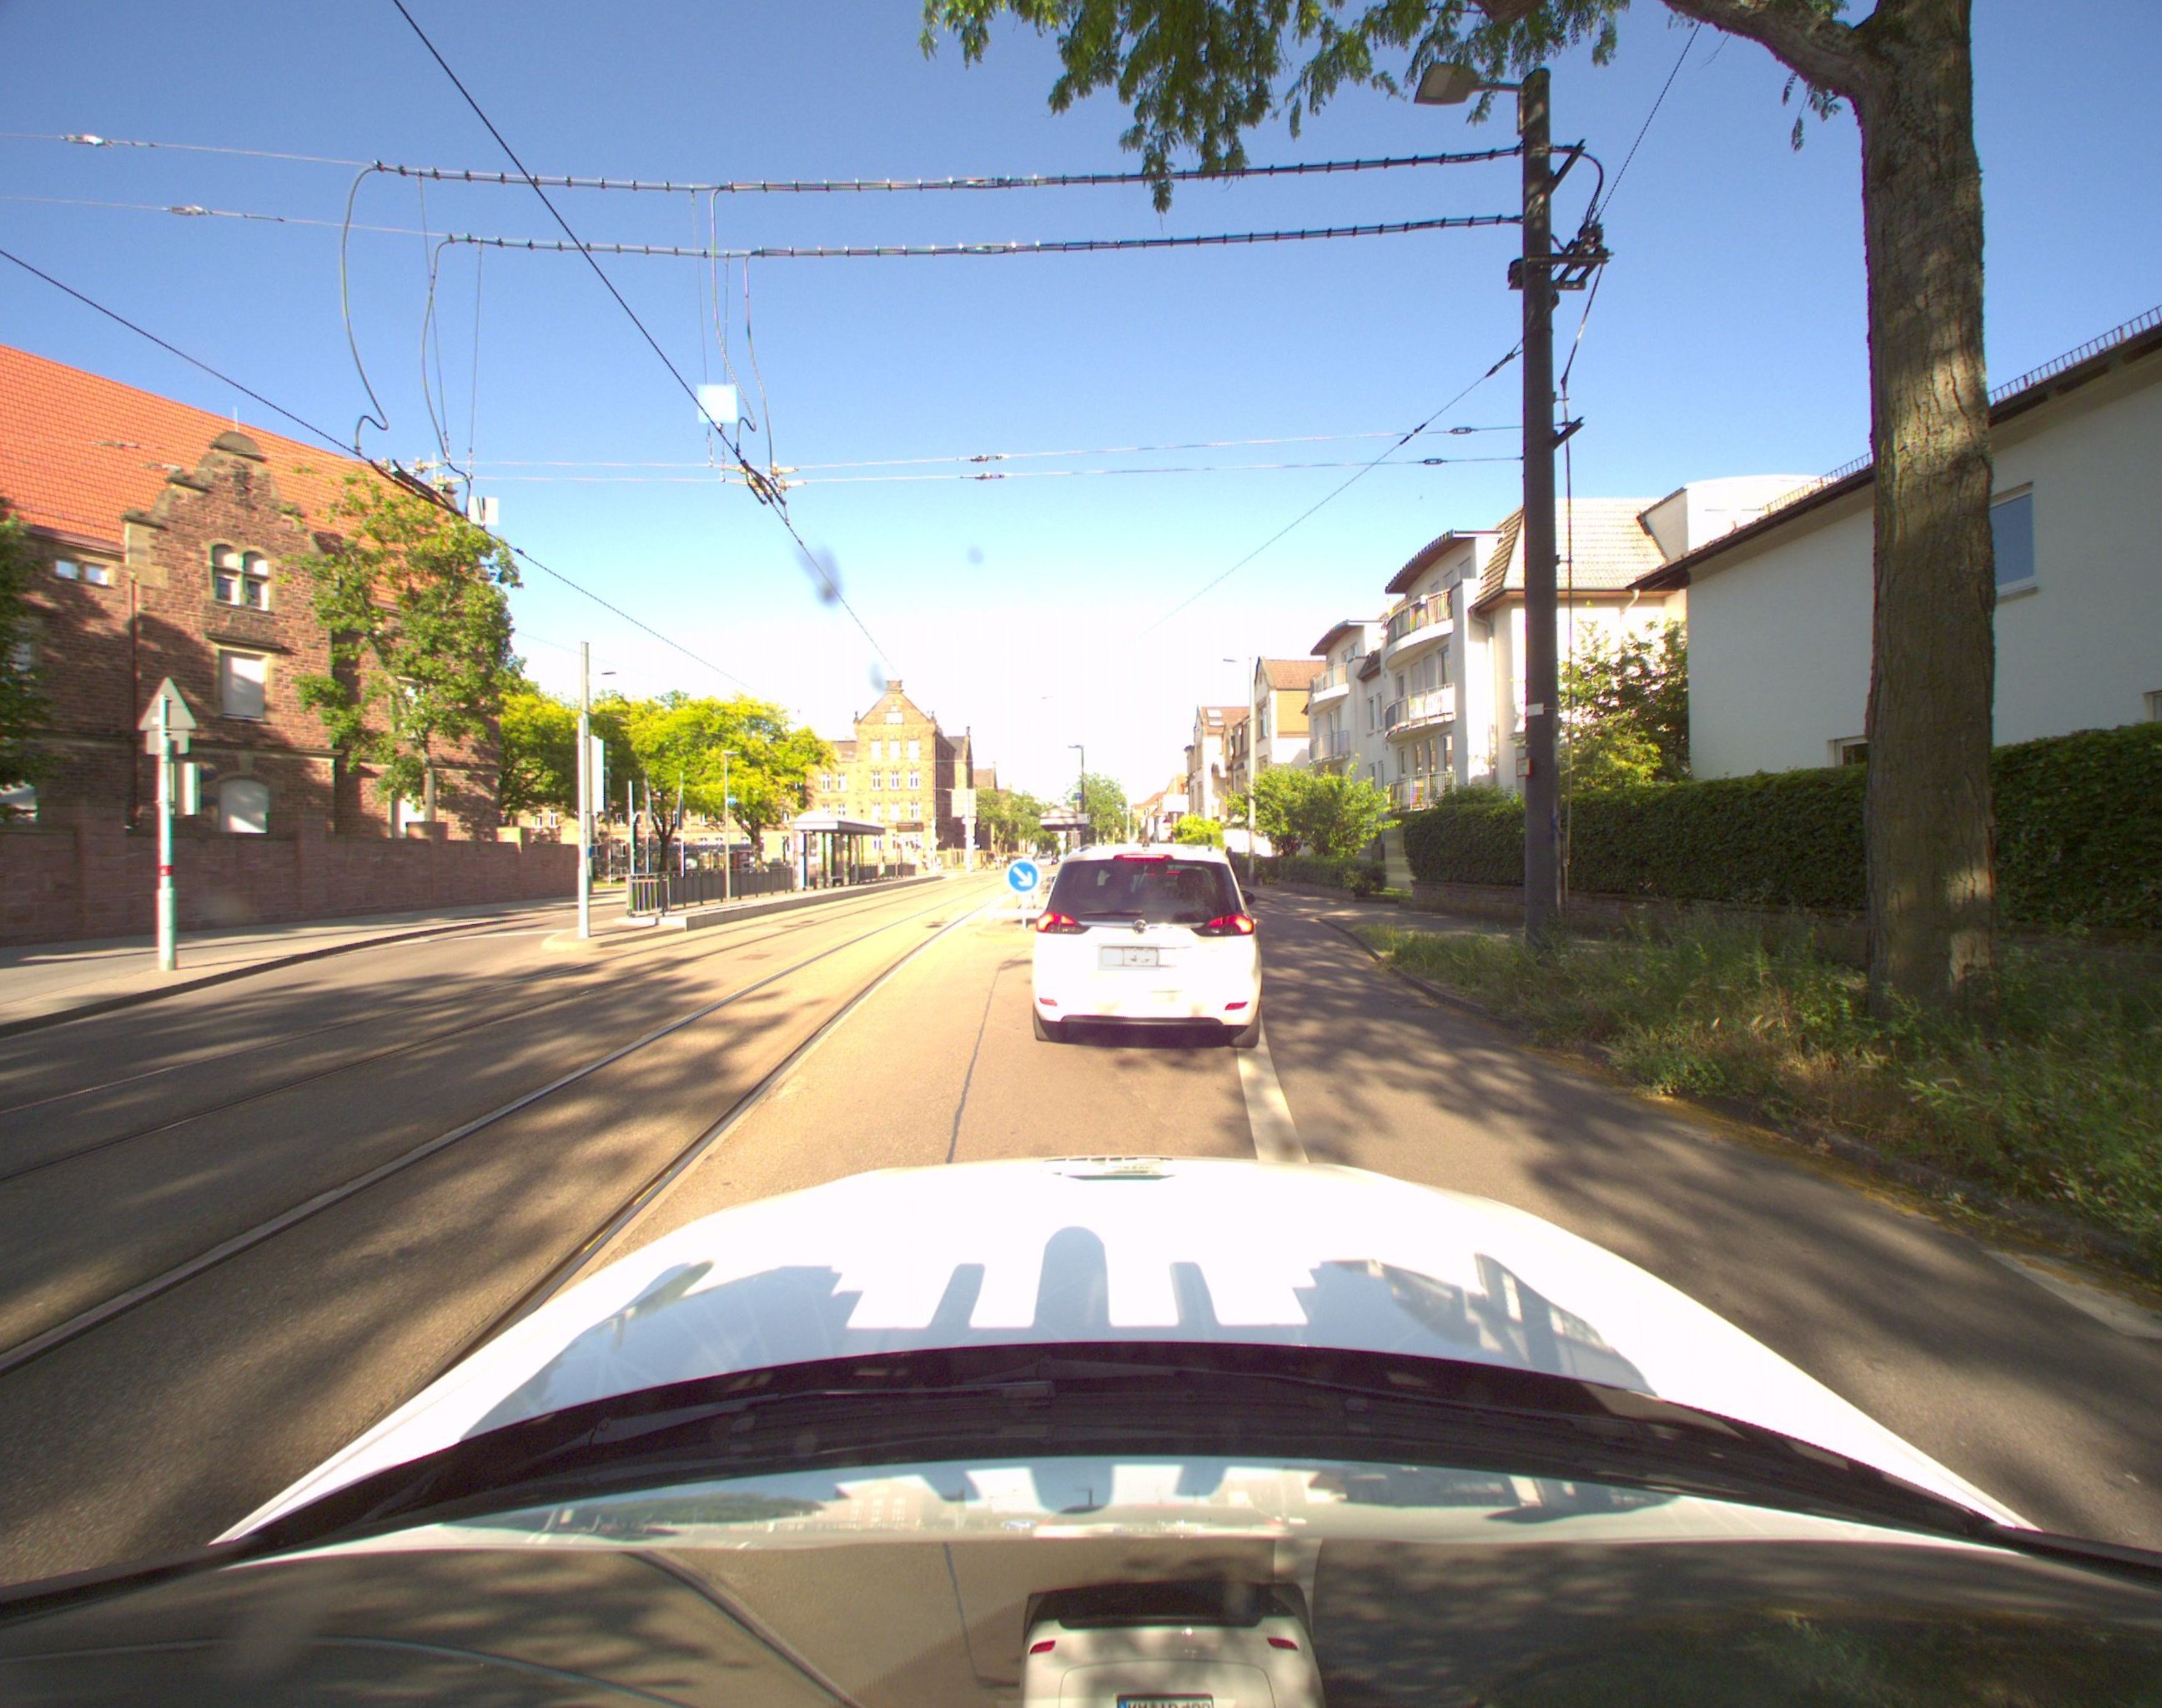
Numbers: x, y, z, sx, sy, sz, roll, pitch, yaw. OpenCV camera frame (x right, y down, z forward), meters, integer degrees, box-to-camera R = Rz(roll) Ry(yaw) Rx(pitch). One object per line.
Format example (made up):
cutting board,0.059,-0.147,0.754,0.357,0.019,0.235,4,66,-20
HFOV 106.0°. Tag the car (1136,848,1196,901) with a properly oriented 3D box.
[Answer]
car,2.976,0.659,28.336,1.897,1.661,4.007,-1,0,6

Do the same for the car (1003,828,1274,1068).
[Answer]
car,0.703,0.665,7.773,1.896,1.661,4.010,-1,0,9

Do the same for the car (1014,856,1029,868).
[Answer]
car,-8.331,1.145,114.110,1.740,1.716,4.001,0,-1,2

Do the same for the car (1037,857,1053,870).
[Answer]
car,-4.709,1.284,107.662,1.740,1.716,4.001,0,-1,2

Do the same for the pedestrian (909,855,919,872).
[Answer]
pedestrian,-18.407,1.070,89.633,0.802,1.901,0.747,-1,-1,16

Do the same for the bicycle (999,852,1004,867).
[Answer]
bicycle,-10.666,0.725,109.454,0.485,2.013,1.406,-1,0,2

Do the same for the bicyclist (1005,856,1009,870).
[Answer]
bicyclist,-10.237,1.250,112.367,0.486,2.014,0.502,0,-1,1

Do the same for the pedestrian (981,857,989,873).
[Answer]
pedestrian,-11.344,1.274,96.434,0.746,1.901,0.803,0,-1,-30

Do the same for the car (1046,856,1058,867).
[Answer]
car,-4.604,1.215,129.387,1.740,1.716,4.001,0,-1,2

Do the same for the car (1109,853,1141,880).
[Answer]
car,2.842,0.765,53.173,1.901,1.661,4.000,-1,0,0

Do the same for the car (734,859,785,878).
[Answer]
car,-29.653,1.330,75.204,3.976,1.630,1.817,0,-1,-2

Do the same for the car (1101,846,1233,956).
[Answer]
car,1.559,0.690,13.859,1.896,1.597,4.010,-1,0,9

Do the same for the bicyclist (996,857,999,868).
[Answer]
bicyclist,-10.666,1.083,103.489,0.312,1.444,0.384,-1,0,1

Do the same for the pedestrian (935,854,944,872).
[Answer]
pedestrian,-15.555,0.956,89.525,0.801,2.014,0.713,0,-1,-35

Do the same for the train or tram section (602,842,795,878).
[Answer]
train or tram section,-37.844,0.592,81.137,17.346,3.154,3.344,-1,-1,-3

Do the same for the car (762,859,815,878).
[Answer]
car,-25.446,1.254,70.961,3.976,1.630,1.817,0,-1,-2

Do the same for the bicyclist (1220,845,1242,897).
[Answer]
bicyclist,4.889,0.549,26.608,0.613,1.686,0.780,-1,0,6

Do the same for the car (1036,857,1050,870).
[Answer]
car,-5.372,1.317,115.541,1.740,1.716,4.001,0,-1,2

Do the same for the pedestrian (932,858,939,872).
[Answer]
pedestrian,-17.170,1.279,95.883,0.651,1.612,0.712,0,-1,4

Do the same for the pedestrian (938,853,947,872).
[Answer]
pedestrian,-14.552,0.888,85.505,0.796,2.014,0.717,0,-1,-15

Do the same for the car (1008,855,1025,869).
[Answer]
car,-8.500,1.057,107.442,1.740,1.716,4.001,0,-1,2

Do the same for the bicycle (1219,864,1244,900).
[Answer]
bicycle,4.902,0.908,26.587,0.621,1.097,1.977,-1,0,6

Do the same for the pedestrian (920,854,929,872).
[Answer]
pedestrian,-17.063,0.962,88.939,0.800,2.014,0.713,0,-1,-32

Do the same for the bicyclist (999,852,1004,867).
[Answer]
bicyclist,-10.663,0.676,109.477,0.496,2.013,0.572,-1,0,1

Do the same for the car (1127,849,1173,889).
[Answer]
car,2.997,0.626,36.180,1.899,1.661,4.003,-1,0,3

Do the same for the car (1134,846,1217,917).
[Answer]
car,2.521,0.644,21.065,1.896,1.624,4.010,-1,0,9
